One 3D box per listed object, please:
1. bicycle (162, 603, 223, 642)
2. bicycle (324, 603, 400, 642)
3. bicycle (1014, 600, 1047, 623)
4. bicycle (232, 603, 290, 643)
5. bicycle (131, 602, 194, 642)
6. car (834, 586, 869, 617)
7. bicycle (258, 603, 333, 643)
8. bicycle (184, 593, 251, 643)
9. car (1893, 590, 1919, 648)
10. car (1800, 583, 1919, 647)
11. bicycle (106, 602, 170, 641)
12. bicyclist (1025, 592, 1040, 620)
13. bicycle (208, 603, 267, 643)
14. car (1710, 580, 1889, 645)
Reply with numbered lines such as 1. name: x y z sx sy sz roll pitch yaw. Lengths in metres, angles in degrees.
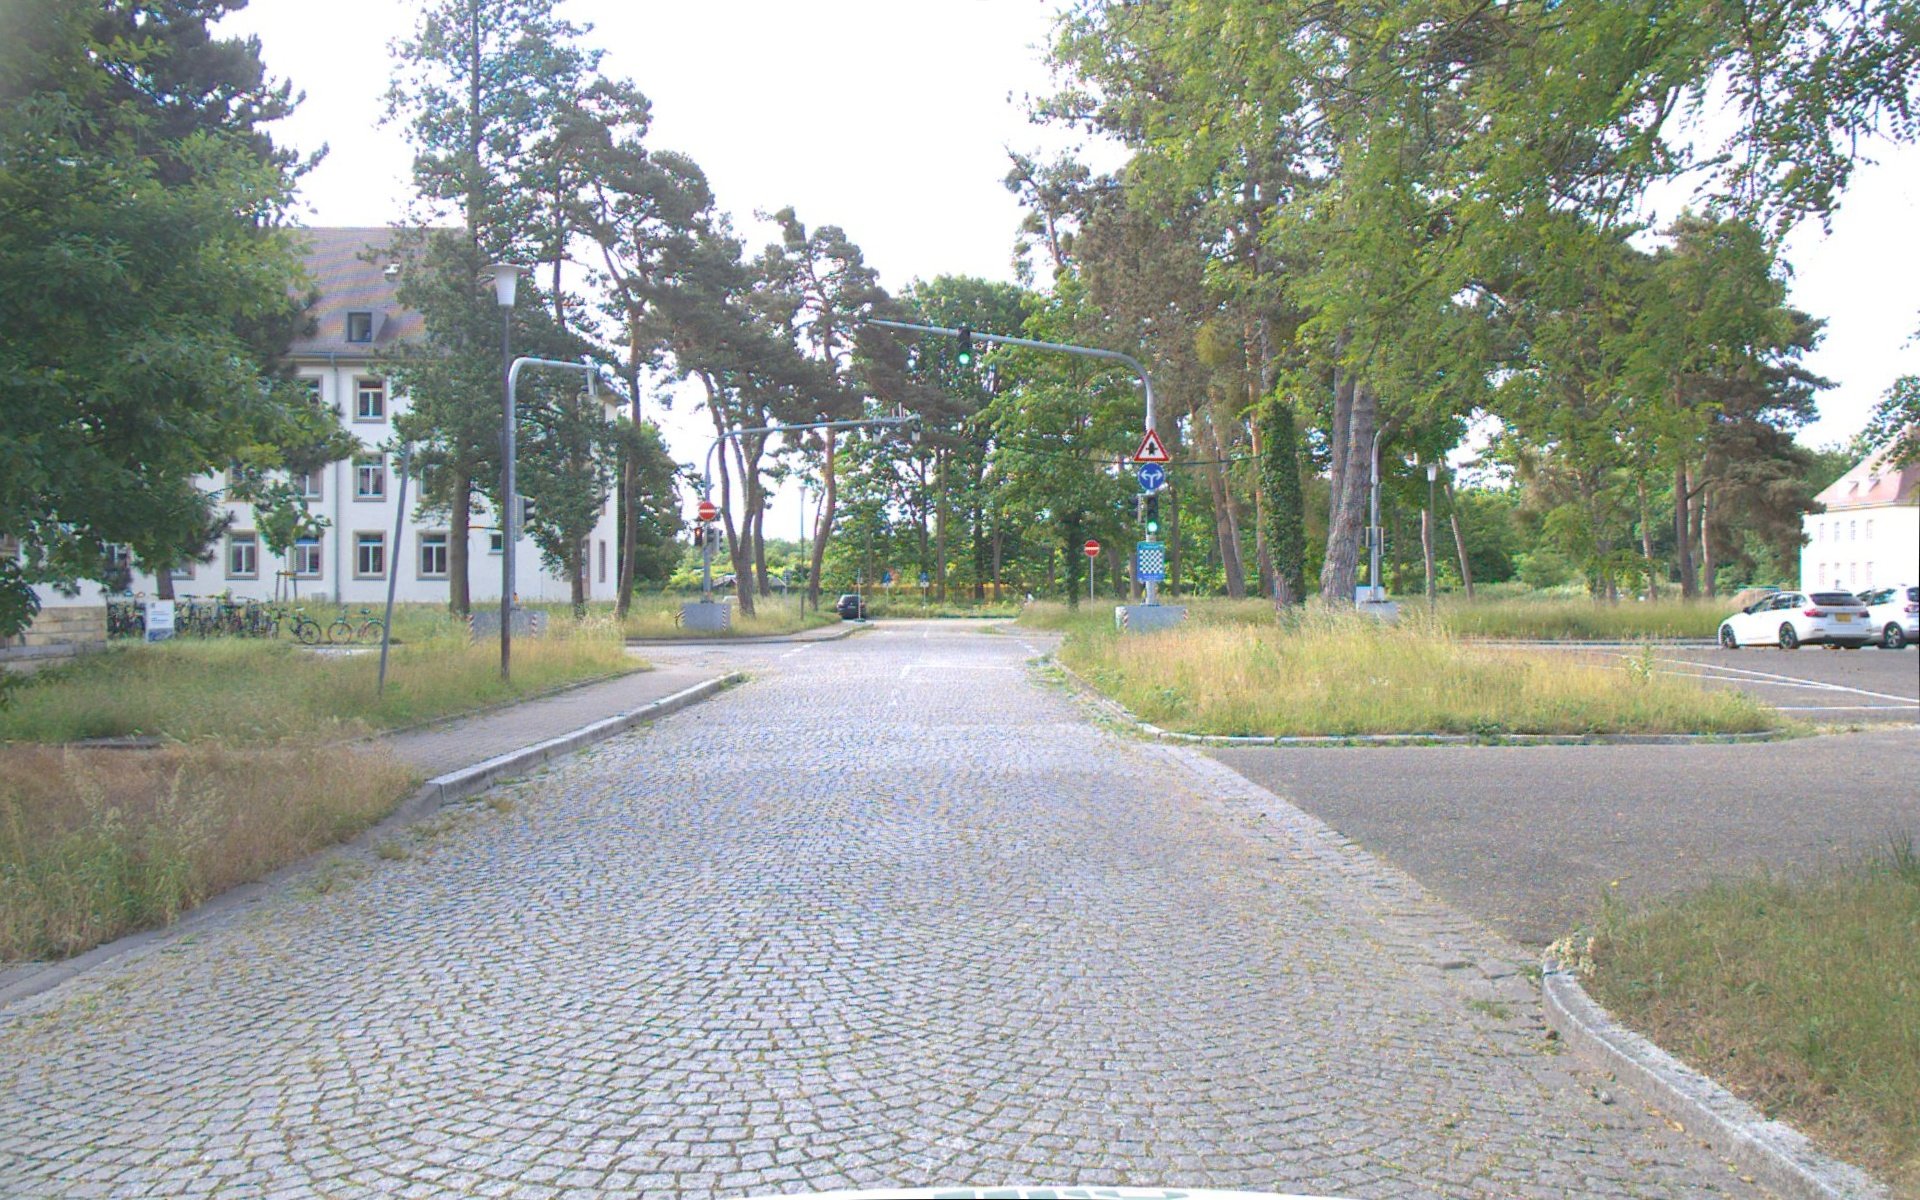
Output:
1. bicycle: -22.318 0.637 48.114 0.721 1.095 2.273 0 0 0
2. bicycle: -16.839 0.631 46.611 1.818 1.095 0.831 0 0 1
3. bicycle: 4.273 0.674 100.040 1.943 1.343 0.514 1 -1 -24
4. bicycle: -20.167 0.646 47.766 0.721 1.095 2.273 0 0 0
5. bicycle: -22.944 0.613 47.610 0.721 1.095 2.273 0 0 0
6. car: -6.790 0.081 104.116 2.014 1.878 3.999 0 0 -2
7. bicycle: -18.690 0.638 46.541 1.818 1.095 0.738 0 0 1
8. bicycle: -21.530 0.503 48.018 0.721 1.410 2.711 0 0 0
9. car: 25.807 0.463 41.615 1.954 1.507 4.421 0 -1 -4
10. car: 23.196 0.401 41.277 1.954 1.507 4.421 0 -1 -4
11. bicycle: -23.664 0.611 47.670 0.721 1.095 2.273 0 0 0
12. bicyclist: 4.373 0.363 100.081 0.739 1.700 0.522 1 -1 -24
13. bicycle: -20.795 0.654 47.675 0.721 1.095 2.273 0 0 0
14. car: 20.731 0.344 41.055 1.954 1.507 4.421 0 -1 -4
